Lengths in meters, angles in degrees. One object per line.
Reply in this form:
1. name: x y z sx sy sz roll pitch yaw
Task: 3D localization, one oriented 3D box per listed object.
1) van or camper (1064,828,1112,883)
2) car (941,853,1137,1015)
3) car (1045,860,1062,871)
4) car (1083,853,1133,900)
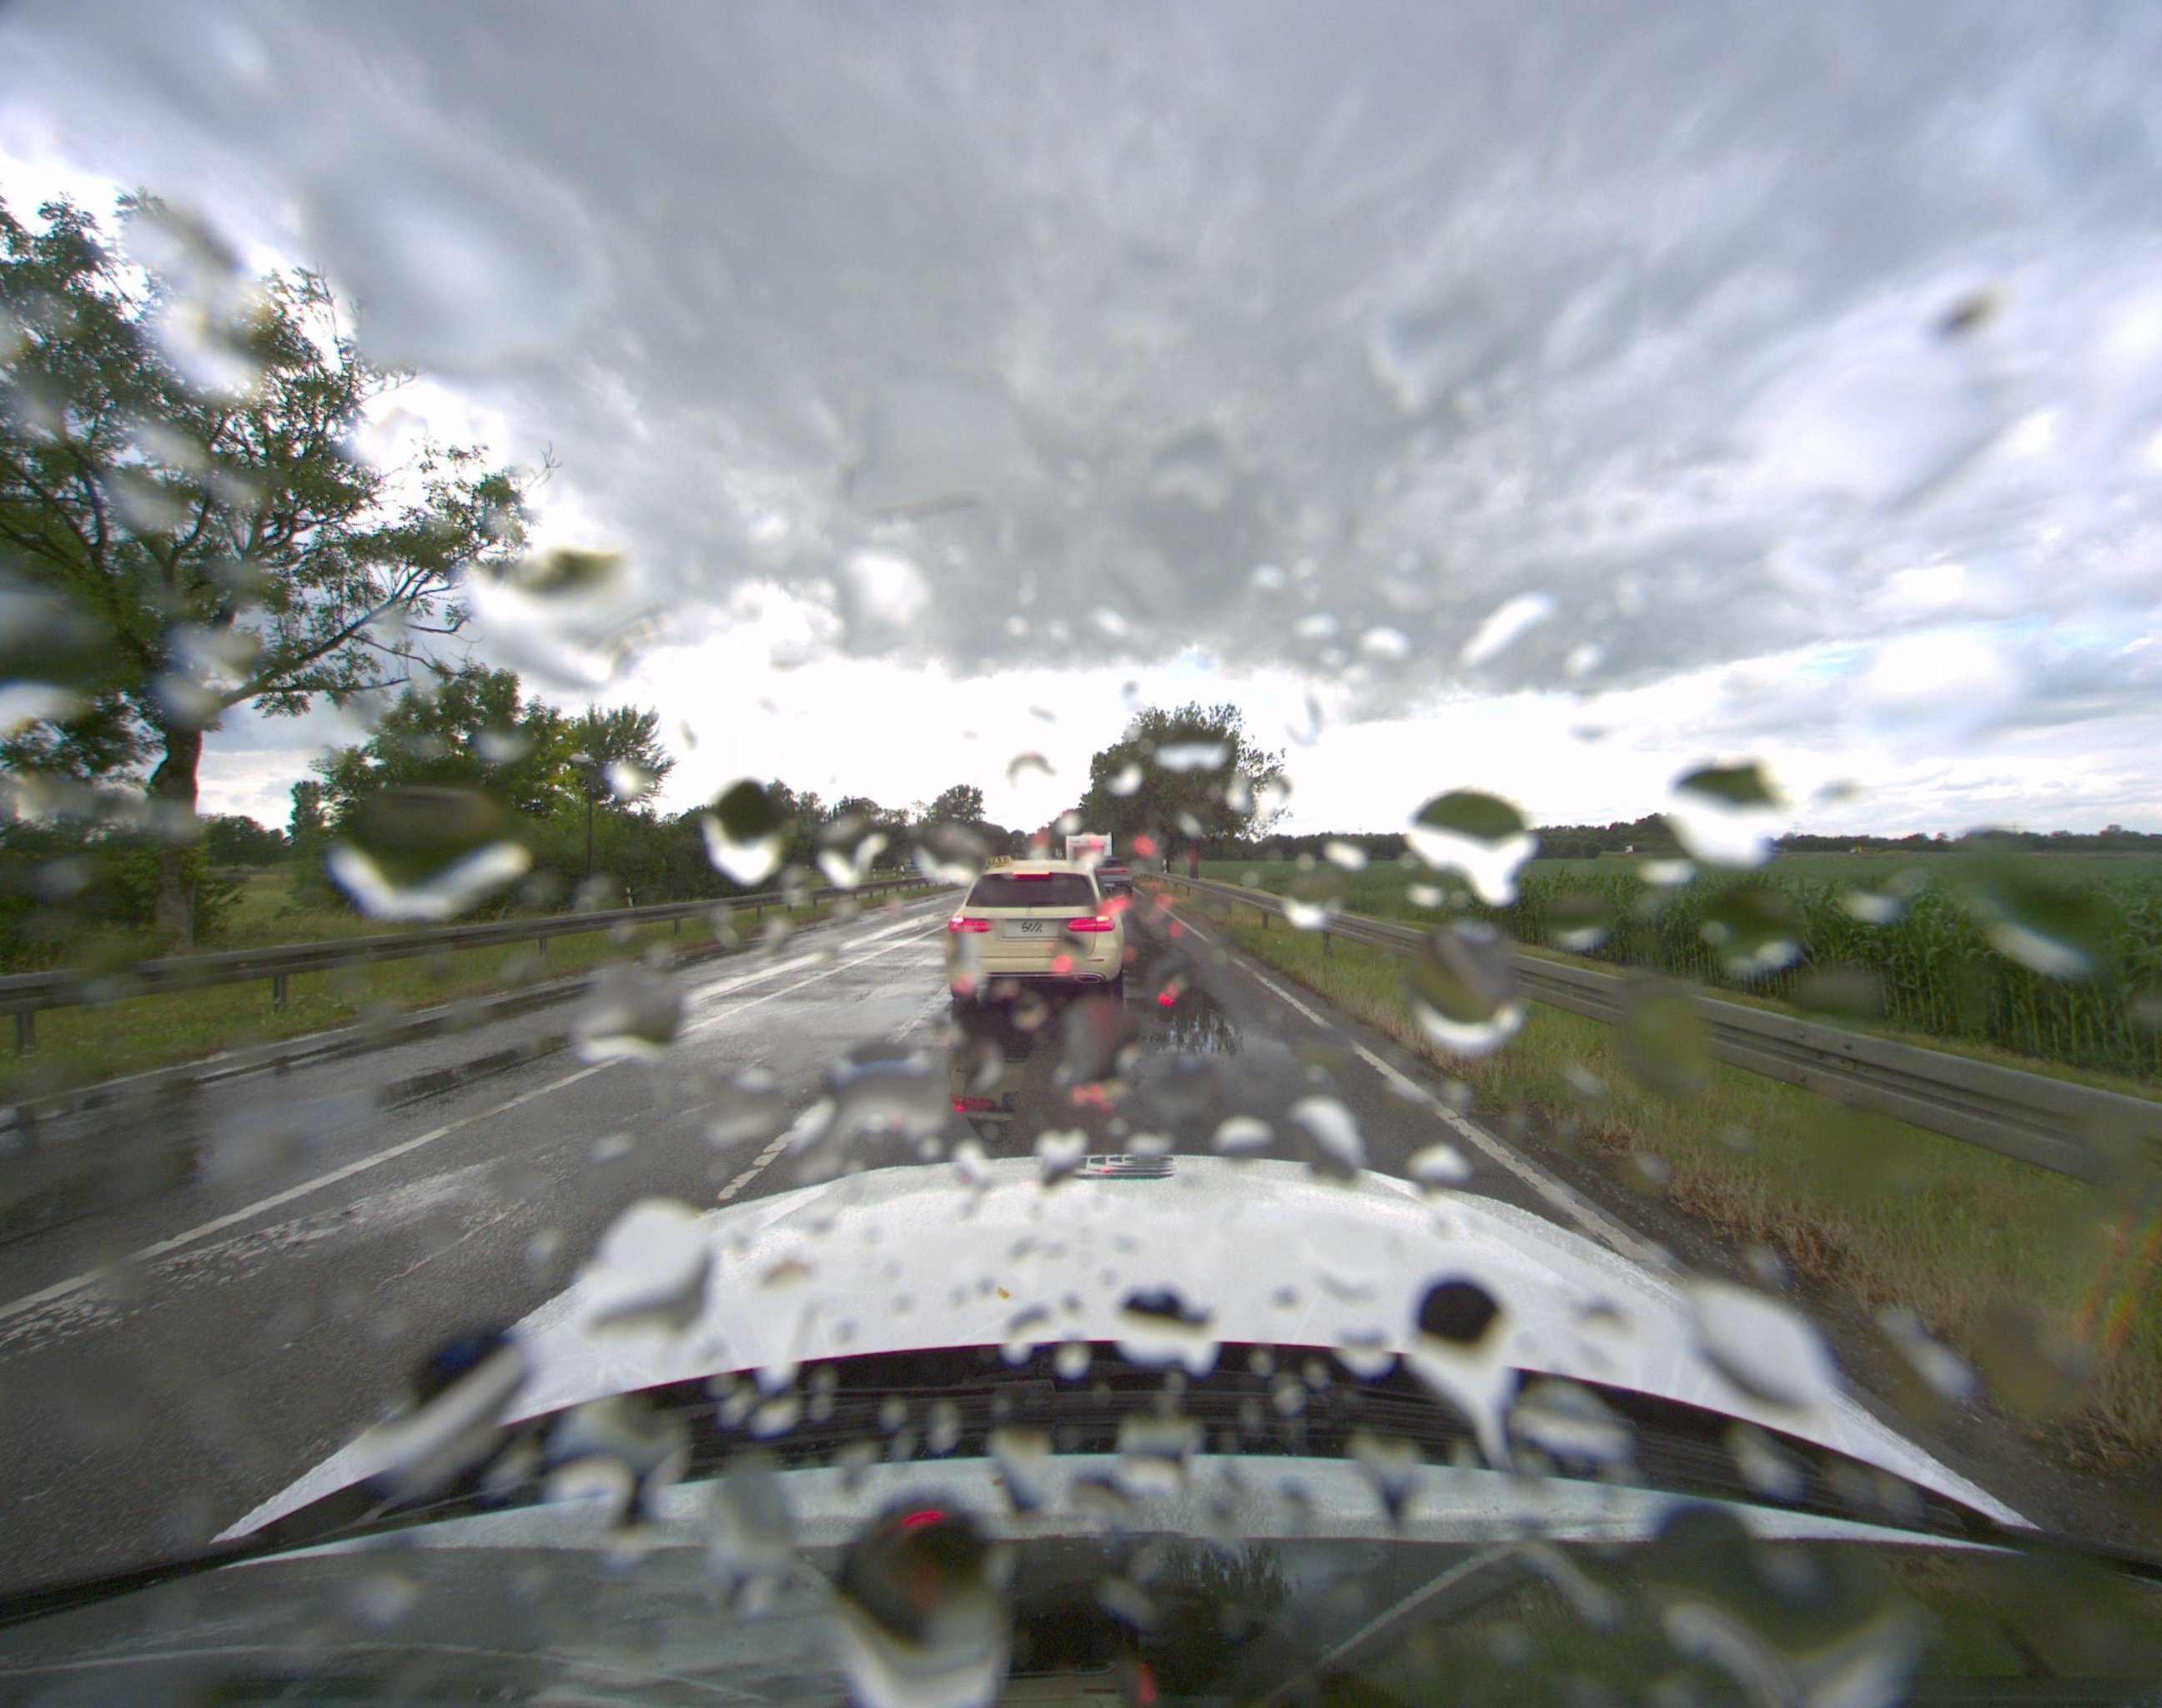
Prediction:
1. van or camper: 0.440 0.046 42.726 2.342 2.680 5.770 -1 0 1
2. car: -0.299 0.756 9.696 1.817 1.485 4.148 -1 0 3
3. car: -3.142 1.329 94.868 1.752 1.269 4.001 -1 0 1
4. car: 0.958 0.751 29.029 1.621 1.529 3.934 -1 0 1
